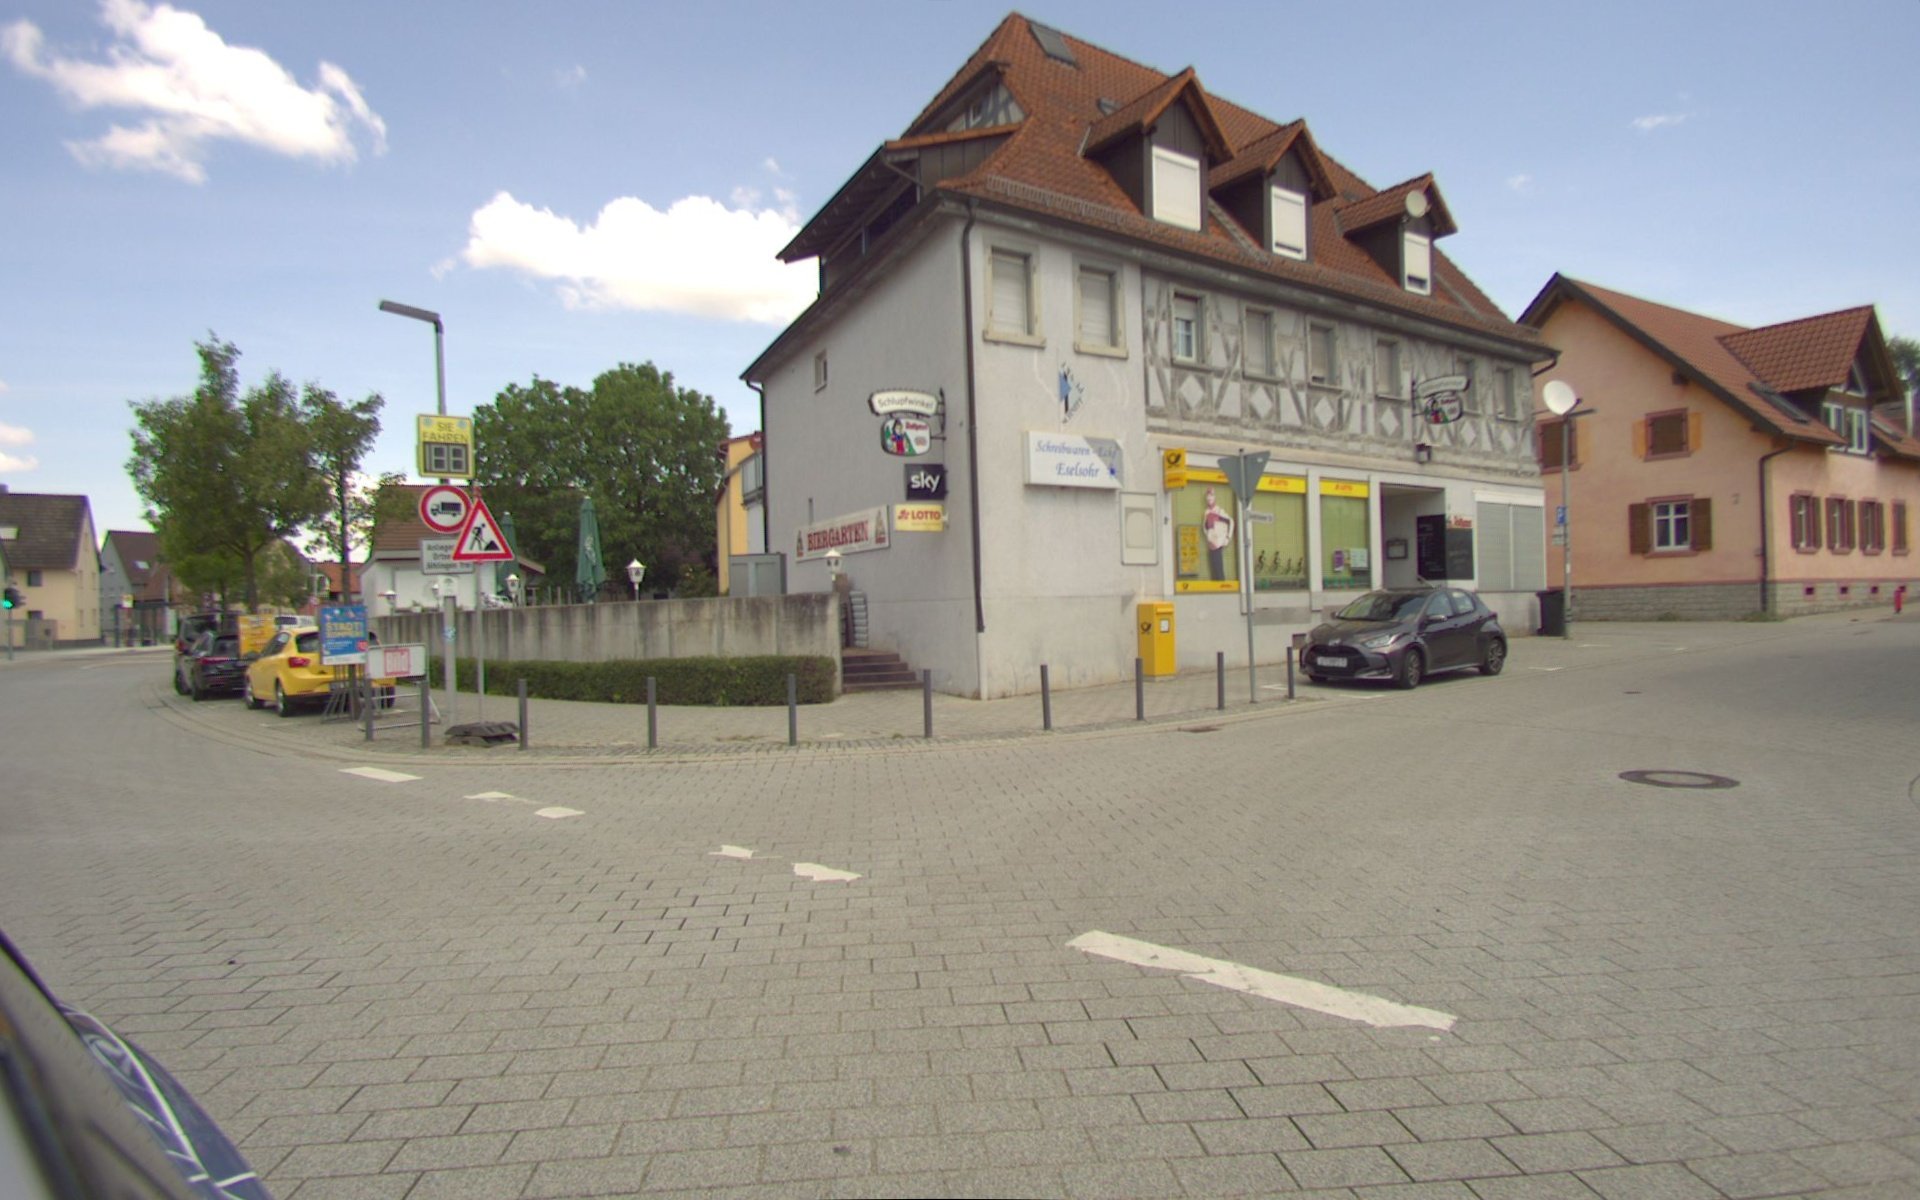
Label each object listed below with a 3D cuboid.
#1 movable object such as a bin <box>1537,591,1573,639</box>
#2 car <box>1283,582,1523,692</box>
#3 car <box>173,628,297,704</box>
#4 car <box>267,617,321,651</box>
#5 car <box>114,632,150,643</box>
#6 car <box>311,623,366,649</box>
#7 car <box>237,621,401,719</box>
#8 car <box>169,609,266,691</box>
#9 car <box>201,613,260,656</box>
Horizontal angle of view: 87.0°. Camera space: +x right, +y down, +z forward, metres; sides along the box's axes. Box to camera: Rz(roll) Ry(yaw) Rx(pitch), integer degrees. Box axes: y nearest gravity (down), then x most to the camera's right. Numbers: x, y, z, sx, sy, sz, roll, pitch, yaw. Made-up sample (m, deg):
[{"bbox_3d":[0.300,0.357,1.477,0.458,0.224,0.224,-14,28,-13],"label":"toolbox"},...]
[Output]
[{"bbox_3d":[14.203,0.358,24.150,0.486,1.125,0.587,1,-1,-36],"label":"movable object such as a bin"},{"bbox_3d":[7.149,0.524,16.210,3.889,1.529,1.777,-1,-1,-36],"label":"car"},{"bbox_3d":[-15.883,1.376,22.081,1.793,1.434,4.544,-1,-1,-41],"label":"car"},{"bbox_3d":[-42.212,2.128,64.248,1.636,2.029,4.011,-1,-1,-14],"label":"car"},{"bbox_3d":[-89.825,4.068,109.799,3.985,1.068,1.784,-2,-1,31],"label":"car"},{"bbox_3d":[-38.664,2.224,63.073,1.709,1.502,4.513,0,-1,-15],"label":"car"},{"bbox_3d":[-11.208,1.140,17.576,1.648,1.486,3.966,0,-2,-44],"label":"car"},{"bbox_3d":[-20.454,1.322,27.798,1.961,2.005,5.054,-1,-1,-38],"label":"car"},{"bbox_3d":[-39.398,1.852,54.760,1.861,2.202,5.046,0,-1,-27],"label":"car"}]
